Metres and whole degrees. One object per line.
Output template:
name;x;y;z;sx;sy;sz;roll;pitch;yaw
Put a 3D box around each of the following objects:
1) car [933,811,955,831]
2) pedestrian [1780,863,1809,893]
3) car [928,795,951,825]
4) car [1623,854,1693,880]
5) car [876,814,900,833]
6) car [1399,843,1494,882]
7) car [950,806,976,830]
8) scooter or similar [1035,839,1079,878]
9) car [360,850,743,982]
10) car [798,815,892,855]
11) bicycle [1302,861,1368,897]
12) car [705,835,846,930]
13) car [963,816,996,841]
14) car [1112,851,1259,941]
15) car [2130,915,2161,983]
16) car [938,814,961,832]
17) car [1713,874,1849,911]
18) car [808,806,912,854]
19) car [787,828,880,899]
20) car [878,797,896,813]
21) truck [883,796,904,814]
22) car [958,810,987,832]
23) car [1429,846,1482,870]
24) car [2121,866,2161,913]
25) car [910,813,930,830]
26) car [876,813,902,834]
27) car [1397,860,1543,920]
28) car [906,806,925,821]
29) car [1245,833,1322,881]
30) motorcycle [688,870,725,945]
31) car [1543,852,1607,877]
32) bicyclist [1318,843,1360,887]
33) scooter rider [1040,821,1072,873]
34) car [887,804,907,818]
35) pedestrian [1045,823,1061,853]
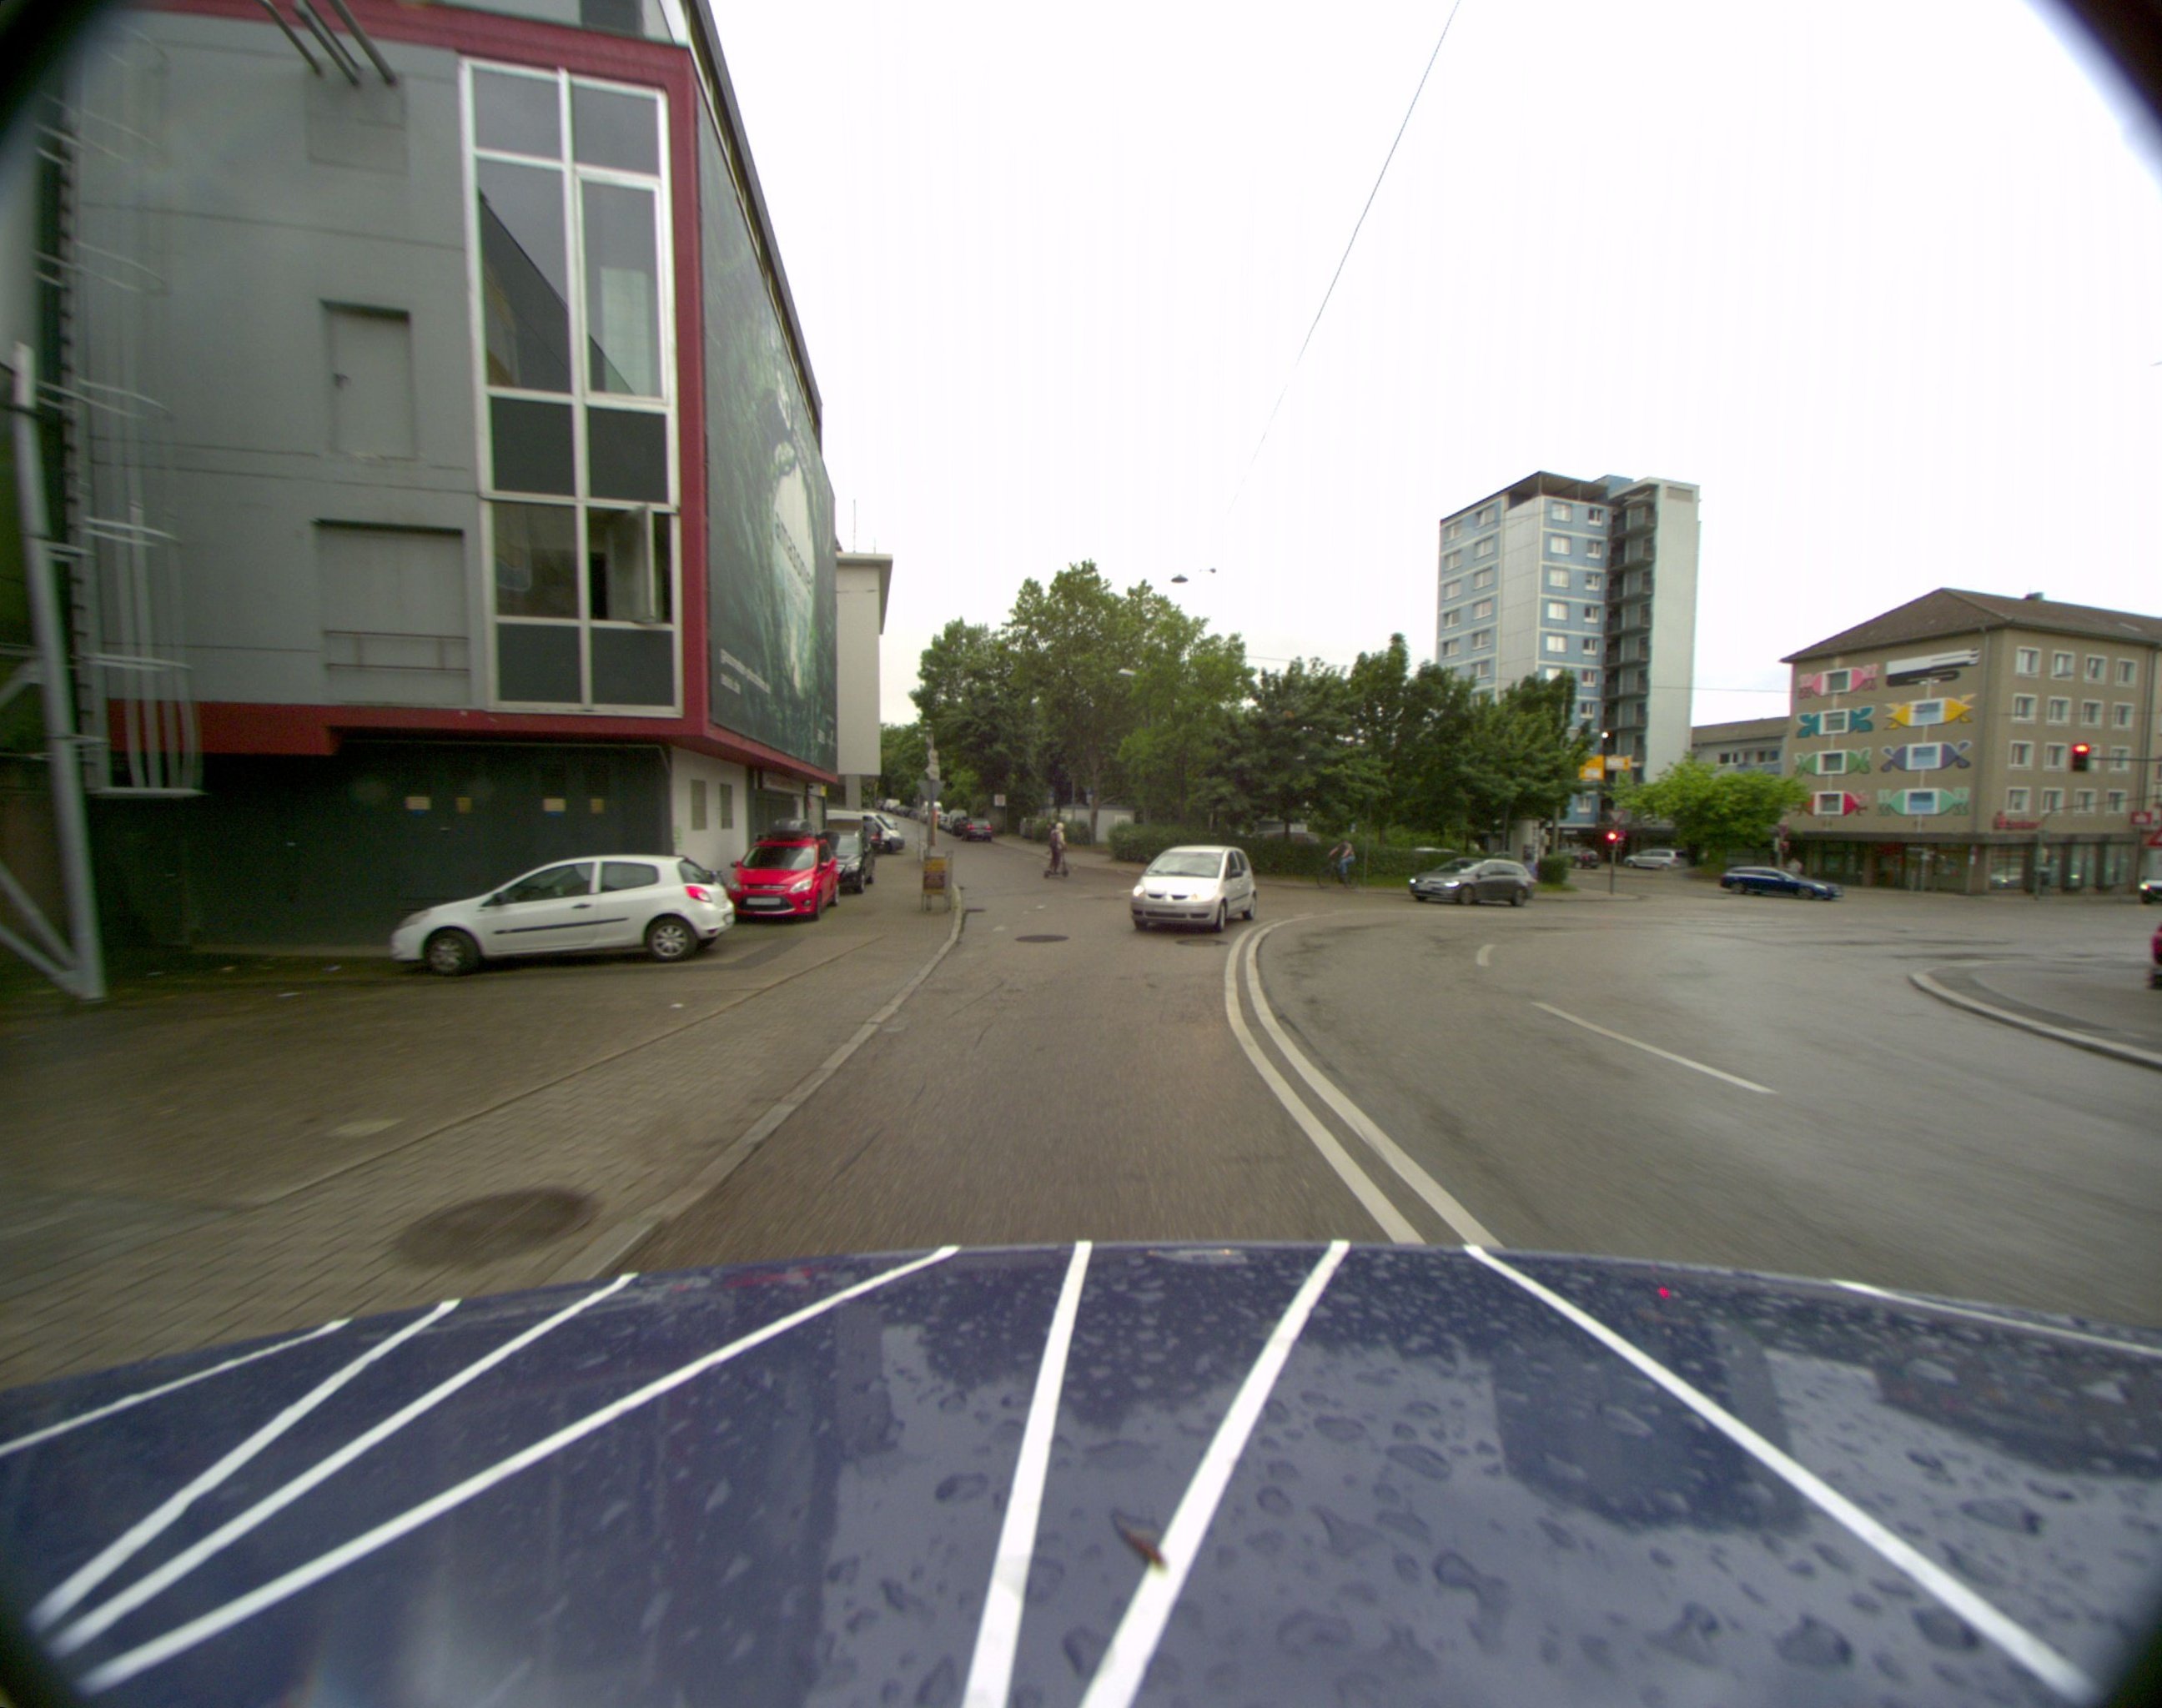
car;-14.524;-3.503;80.394;1.910;2.024;3.992;1;4;-14
pedestrian;44.823;1.504;47.745;0.818;1.764;0.901;2;4;-18
car;-16.444;-5.096;88.170;2.224;3.265;5.070;1;4;-14
car;45.910;1.003;60.546;1.652;1.657;4.176;-1;5;-18
car;-16.424;-2.622;64.793;1.910;1.494;3.992;1;4;-14
car;18.262;0.379;38.201;1.639;1.612;4.202;4;2;-22
car;-10.631;-3.242;67.992;1.910;2.064;3.992;1;4;-14
scooter or similar;-0.845;0.140;27.004;0.802;1.315;1.411;4;4;41
car;-7.167;0.844;10.771;3.995;1.524;1.872;3;2;-13
car;-11.320;-0.918;36.691;3.999;1.684;1.881;2;4;-6
bicycle;9.436;0.935;28.243;2.136;1.181;0.886;2;6;-22
car;-6.465;0.499;16.623;1.933;1.702;4.486;1;2;-10
car;-7.335;-1.867;54.708;1.910;1.642;3.992;1;4;-14
car;2.196;0.746;14.973;1.683;1.496;3.846;1;0;27
car;25.374;2.169;16.753;3.537;1.455;1.612;3;0;-19
car;-12.888;-3.072;74.326;1.910;1.642;3.992;1;4;-14
car;35.209;1.873;38.383;1.822;1.388;4.648;-1;3;-22
car;-11.361;-1.279;39.333;4.892;2.200;1.881;2;4;-6
car;-7.017;0.190;21.941;1.933;1.702;3.994;2;3;-10
car;-31.199;-7.894;122.123;1.795;2.615;3.988;0;4;-29
truck;-28.950;-7.609;117.046;2.055;2.615;3.988;0;4;-30
car;-8.769;-2.662;61.323;1.910;1.642;3.992;1;4;-14
car;34.469;0.347;70.008;1.993;1.845;4.222;2;3;-15
car;61.530;2.037;42.465;5.475;2.509;2.229;2;1;-17
car;-20.490;-4.200;96.460;1.911;2.024;3.990;0;4;-21
car;-15.099;-2.411;59.788;1.910;1.494;3.992;1;4;-14
car;12.472;1.169;24.346;4.510;1.496;1.683;5;2;-26
car;-22.928;-5.562;105.069;1.911;1.930;3.990;0;4;-21
car;9.436;0.072;35.718;1.638;1.949;4.206;4;2;-12
motorcycle;-6.567;0.906;13.358;0.452;1.154;1.420;-1;3;-22
car;40.457;0.819;62.322;1.652;1.657;4.176;-1;5;-18
bicyclist;9.577;0.399;28.238;0.970;1.482;0.886;2;6;-22
scooter rider;-0.874;-0.268;26.963;0.802;1.811;0.783;4;5;41
car;-26.621;-6.289;110.000;1.912;1.930;3.989;0;4;-26
pedestrian;-1.504;-0.856;40.850;0.704;1.559;0.621;0;5;-12
